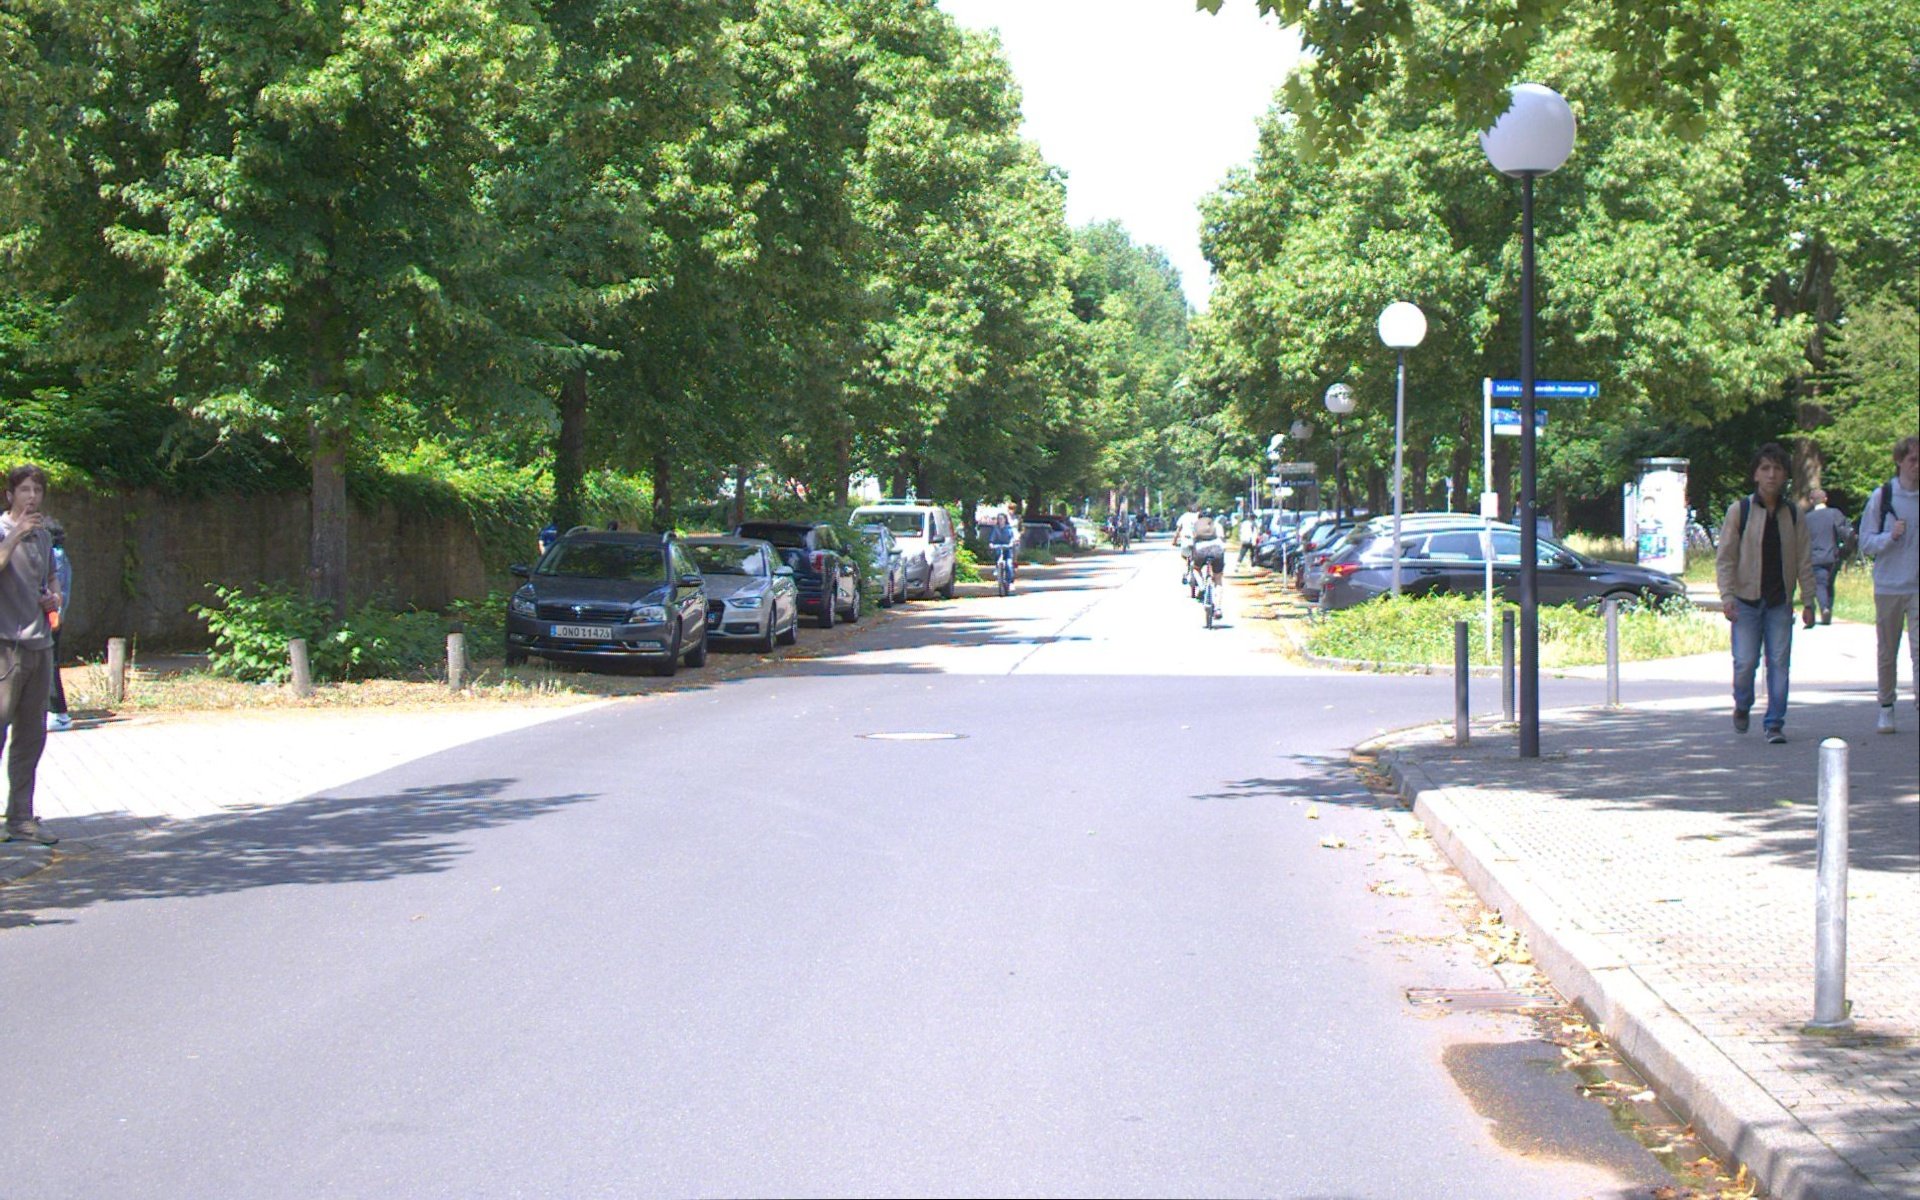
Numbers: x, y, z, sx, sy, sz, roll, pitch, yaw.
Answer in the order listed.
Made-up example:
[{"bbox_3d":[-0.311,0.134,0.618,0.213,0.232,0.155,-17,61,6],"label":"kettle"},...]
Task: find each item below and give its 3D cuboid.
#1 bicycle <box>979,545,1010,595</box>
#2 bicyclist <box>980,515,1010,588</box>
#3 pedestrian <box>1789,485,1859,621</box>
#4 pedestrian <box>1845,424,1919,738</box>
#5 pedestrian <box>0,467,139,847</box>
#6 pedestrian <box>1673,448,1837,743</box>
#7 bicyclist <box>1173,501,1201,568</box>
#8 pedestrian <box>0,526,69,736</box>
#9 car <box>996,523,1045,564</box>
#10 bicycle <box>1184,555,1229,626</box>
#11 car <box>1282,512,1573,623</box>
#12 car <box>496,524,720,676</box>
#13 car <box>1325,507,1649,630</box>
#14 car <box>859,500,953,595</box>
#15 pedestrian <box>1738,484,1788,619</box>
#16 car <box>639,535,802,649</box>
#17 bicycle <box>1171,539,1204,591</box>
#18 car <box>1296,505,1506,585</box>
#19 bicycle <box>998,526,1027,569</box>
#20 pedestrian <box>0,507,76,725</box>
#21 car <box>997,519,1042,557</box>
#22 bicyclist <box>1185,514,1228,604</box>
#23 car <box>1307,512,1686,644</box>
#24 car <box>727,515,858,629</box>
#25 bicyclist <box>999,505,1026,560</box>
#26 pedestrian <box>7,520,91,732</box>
[{"bbox_3d":[0.714,-0.621,70.289,0.577,0.997,1.423,0,1,3],"label":"bicycle"},{"bbox_3d":[0.717,-0.992,70.224,0.563,1.493,0.827,0,1,3],"label":"bicyclist"},{"bbox_3d":[11.199,-0.611,44.575,0.821,1.749,0.628,0,1,9],"label":"pedestrian"},{"bbox_3d":[5.774,-0.123,20.833,0.671,1.866,0.792,0,1,5],"label":"pedestrian"},{"bbox_3d":[-4.655,0.267,17.210,0.725,1.850,0.790,0,1,20],"label":"pedestrian"},{"bbox_3d":[4.829,-0.035,20.918,0.821,1.749,0.840,-1,1,3],"label":"pedestrian"},{"bbox_3d":[4.444,-1.285,67.362,0.522,1.291,0.611,0,1,3],"label":"bicyclist"},{"bbox_3d":[-6.947,0.220,25.331,0.584,1.521,0.494,-1,1,-36],"label":"pedestrian"},{"bbox_3d":[2.053,-1.928,116.354,1.616,1.360,4.000,0,1,2],"label":"car"},{"bbox_3d":[3.550,-0.141,49.556,0.614,0.997,1.423,0,1,3],"label":"bicycle"},{"bbox_3d":[7.077,-0.503,52.343,4.257,1.582,1.810,-1,1,4],"label":"car"},{"bbox_3d":[-3.674,-0.045,36.479,1.760,1.516,4.111,0,1,3],"label":"car"},{"bbox_3d":[7.237,-0.447,47.510,4.257,1.582,1.810,-1,1,4],"label":"car"},{"bbox_3d":[-1.042,-1.051,67.999,1.616,1.809,4.000,0,1,3],"label":"car"},{"bbox_3d":[10.493,-0.634,44.918,0.601,1.749,0.628,0,1,10],"label":"pedestrian"},{"bbox_3d":[-3.022,-0.135,44.090,1.616,1.383,4.000,0,1,3],"label":"car"},{"bbox_3d":[4.456,-0.683,67.378,0.614,0.997,1.423,0,1,3],"label":"bicycle"},{"bbox_3d":[9.279,-1.158,72.587,4.257,1.582,1.919,-1,1,4],"label":"car"},{"bbox_3d":[1.223,-1.227,80.238,0.614,0.997,1.423,0,1,3],"label":"bicycle"},{"bbox_3d":[-7.281,0.115,26.587,0.627,1.657,0.603,-1,2,-45],"label":"pedestrian"},{"bbox_3d":[2.198,-2.282,126.155,1.616,1.360,4.562,0,1,2],"label":"car"},{"bbox_3d":[3.547,-0.590,49.479,0.609,1.291,0.611,0,1,3],"label":"bicyclist"},{"bbox_3d":[6.595,-0.284,42.640,4.486,1.520,1.810,-1,1,4],"label":"car"},{"bbox_3d":[-2.528,-0.457,52.642,1.616,1.673,4.000,0,1,3],"label":"car"},{"bbox_3d":[1.224,-1.575,80.239,0.608,1.291,0.611,0,1,3],"label":"bicyclist"},{"bbox_3d":[-6.906,0.188,26.054,0.494,1.580,0.494,-1,1,-29],"label":"pedestrian"}]
